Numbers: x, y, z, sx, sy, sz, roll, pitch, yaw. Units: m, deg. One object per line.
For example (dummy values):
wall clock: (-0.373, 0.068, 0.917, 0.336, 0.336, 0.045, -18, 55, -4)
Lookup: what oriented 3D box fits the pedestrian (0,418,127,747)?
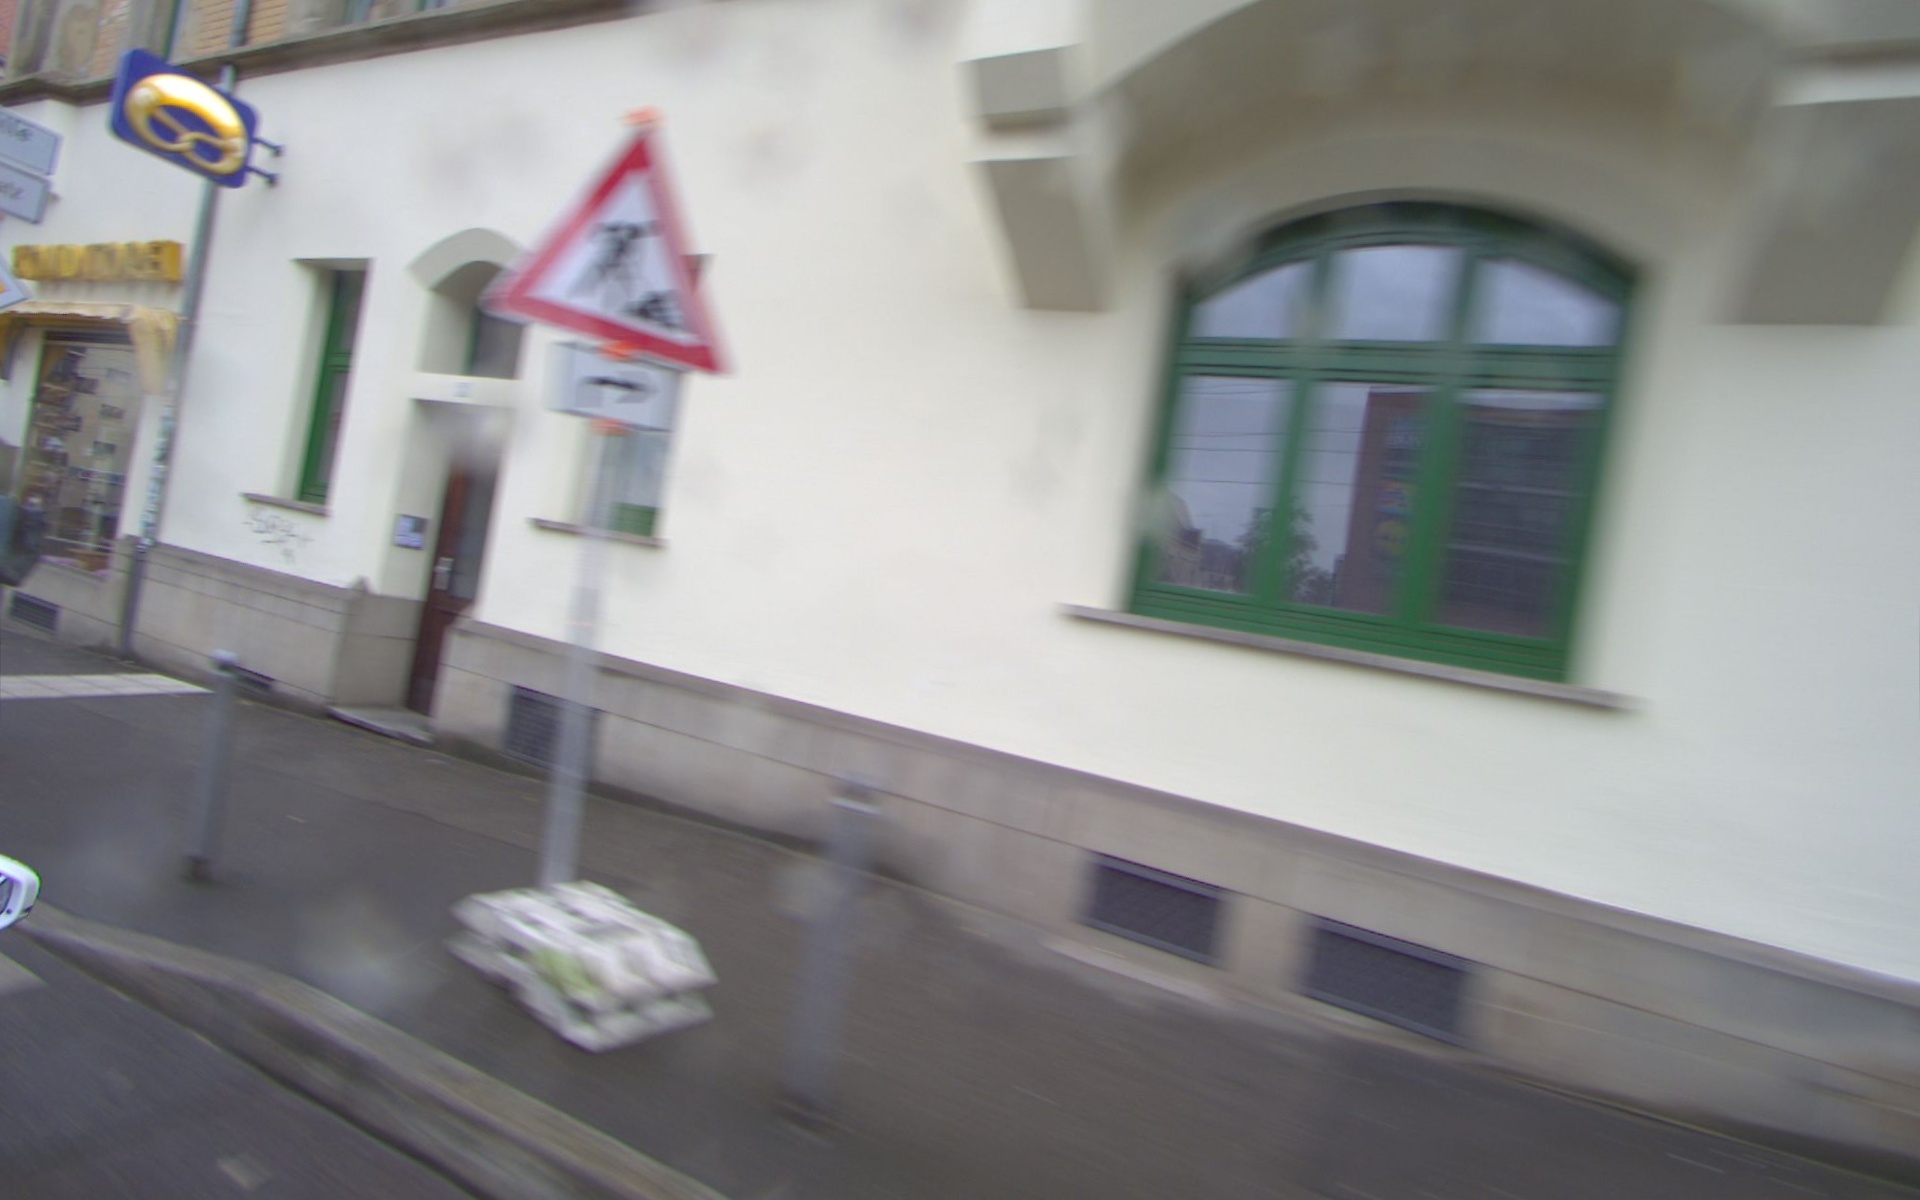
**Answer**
pedestrian: (-5.491, -0.131, 5.538, 0.914, 1.742, 1.018, 7, 1, 29)
